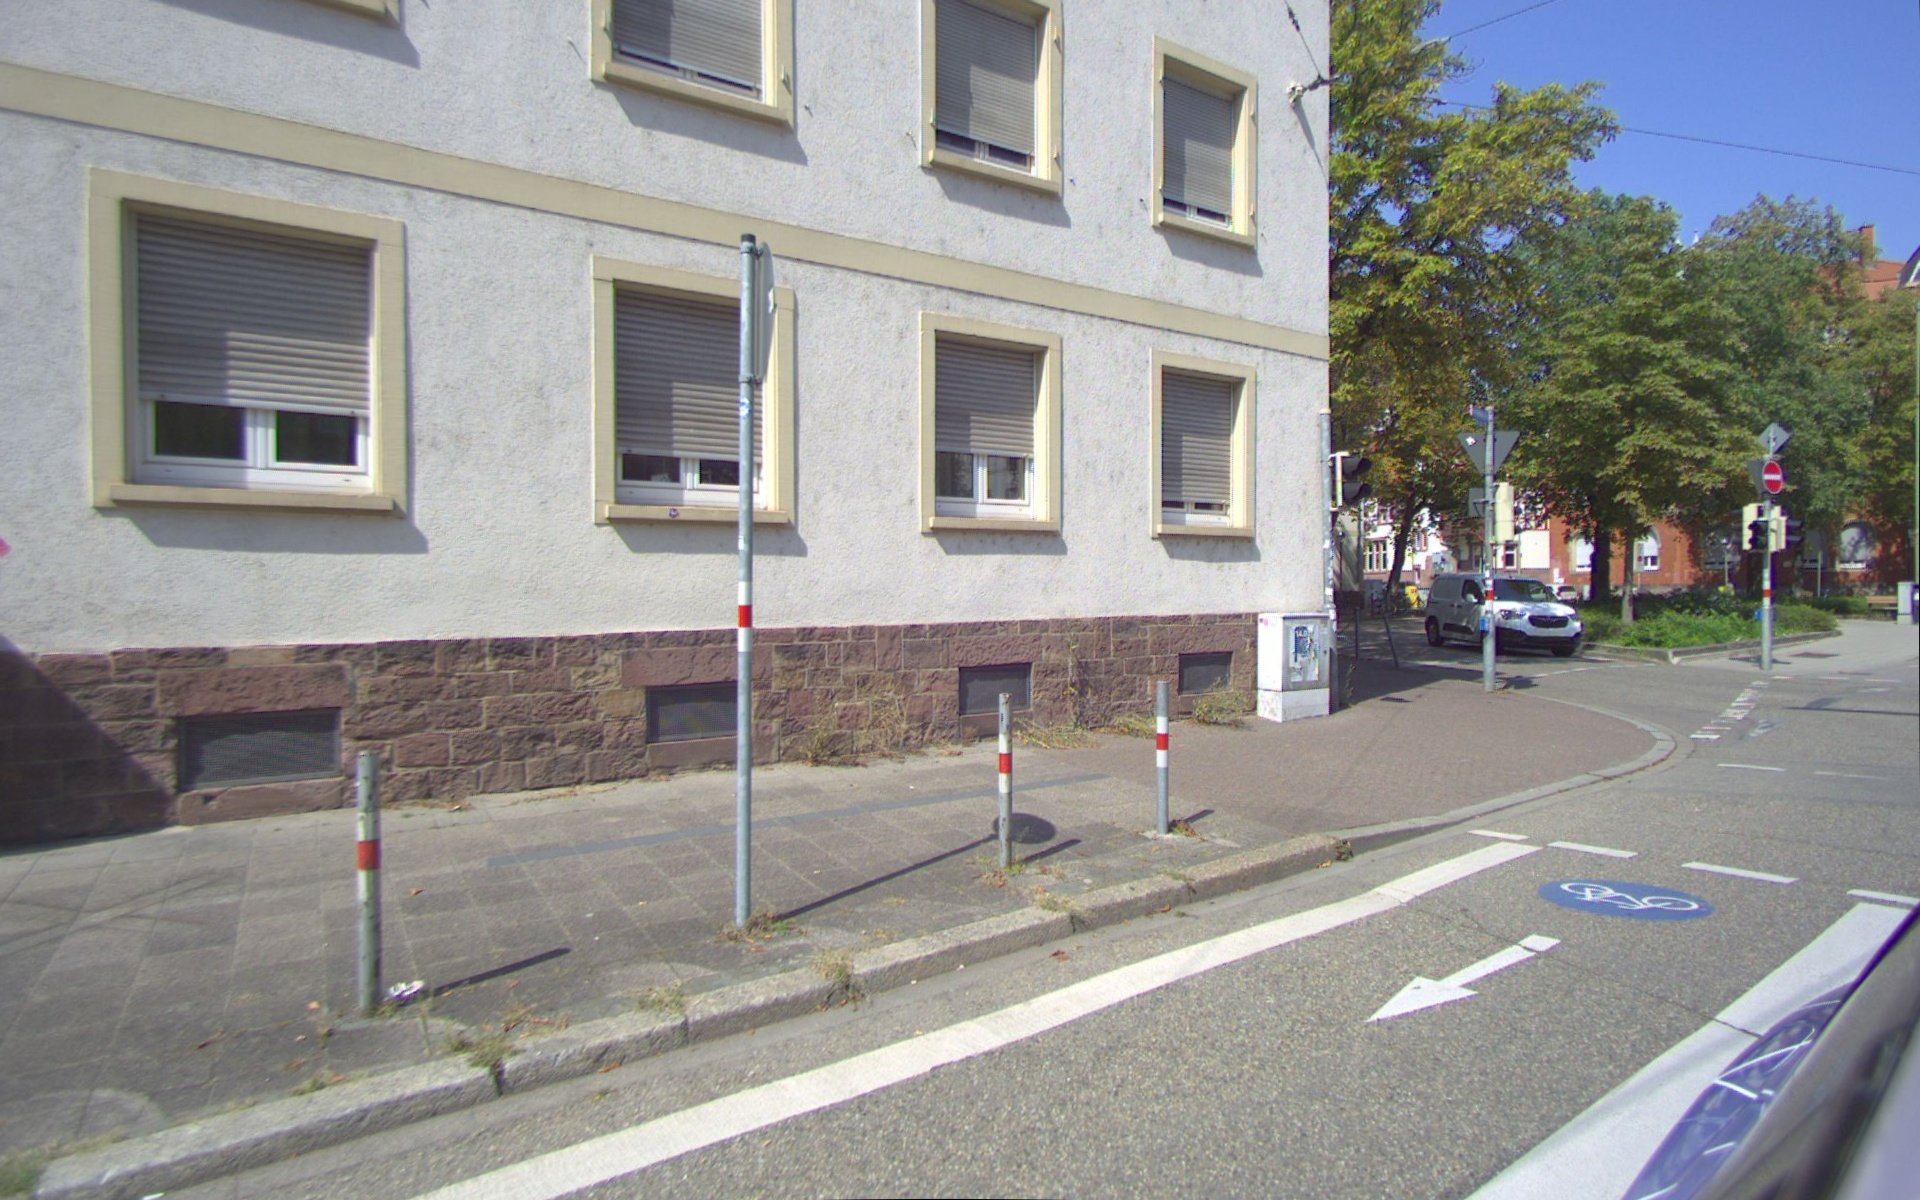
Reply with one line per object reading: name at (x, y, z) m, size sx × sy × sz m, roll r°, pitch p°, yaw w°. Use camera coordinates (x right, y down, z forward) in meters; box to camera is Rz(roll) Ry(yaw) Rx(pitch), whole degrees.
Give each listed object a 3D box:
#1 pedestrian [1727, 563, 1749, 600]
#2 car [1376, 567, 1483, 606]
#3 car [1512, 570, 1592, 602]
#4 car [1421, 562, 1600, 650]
pedestrian at (41.564, -0.989, 54.075) m, size 0.666 × 1.909 × 0.918 m, roll 0°, pitch 1°, yaw 17°
car at (22.841, -0.668, 49.363) m, size 4.331 × 1.834 × 1.805 m, roll 0°, pitch 2°, yaw -1°
car at (36.064, -0.865, 61.820) m, size 1.767 × 1.834 × 4.424 m, roll -1°, pitch 1°, yaw -10°
car at (12.479, 0.081, 23.293) m, size 1.771 × 1.834 × 4.415 m, roll 0°, pitch 1°, yaw 1°
